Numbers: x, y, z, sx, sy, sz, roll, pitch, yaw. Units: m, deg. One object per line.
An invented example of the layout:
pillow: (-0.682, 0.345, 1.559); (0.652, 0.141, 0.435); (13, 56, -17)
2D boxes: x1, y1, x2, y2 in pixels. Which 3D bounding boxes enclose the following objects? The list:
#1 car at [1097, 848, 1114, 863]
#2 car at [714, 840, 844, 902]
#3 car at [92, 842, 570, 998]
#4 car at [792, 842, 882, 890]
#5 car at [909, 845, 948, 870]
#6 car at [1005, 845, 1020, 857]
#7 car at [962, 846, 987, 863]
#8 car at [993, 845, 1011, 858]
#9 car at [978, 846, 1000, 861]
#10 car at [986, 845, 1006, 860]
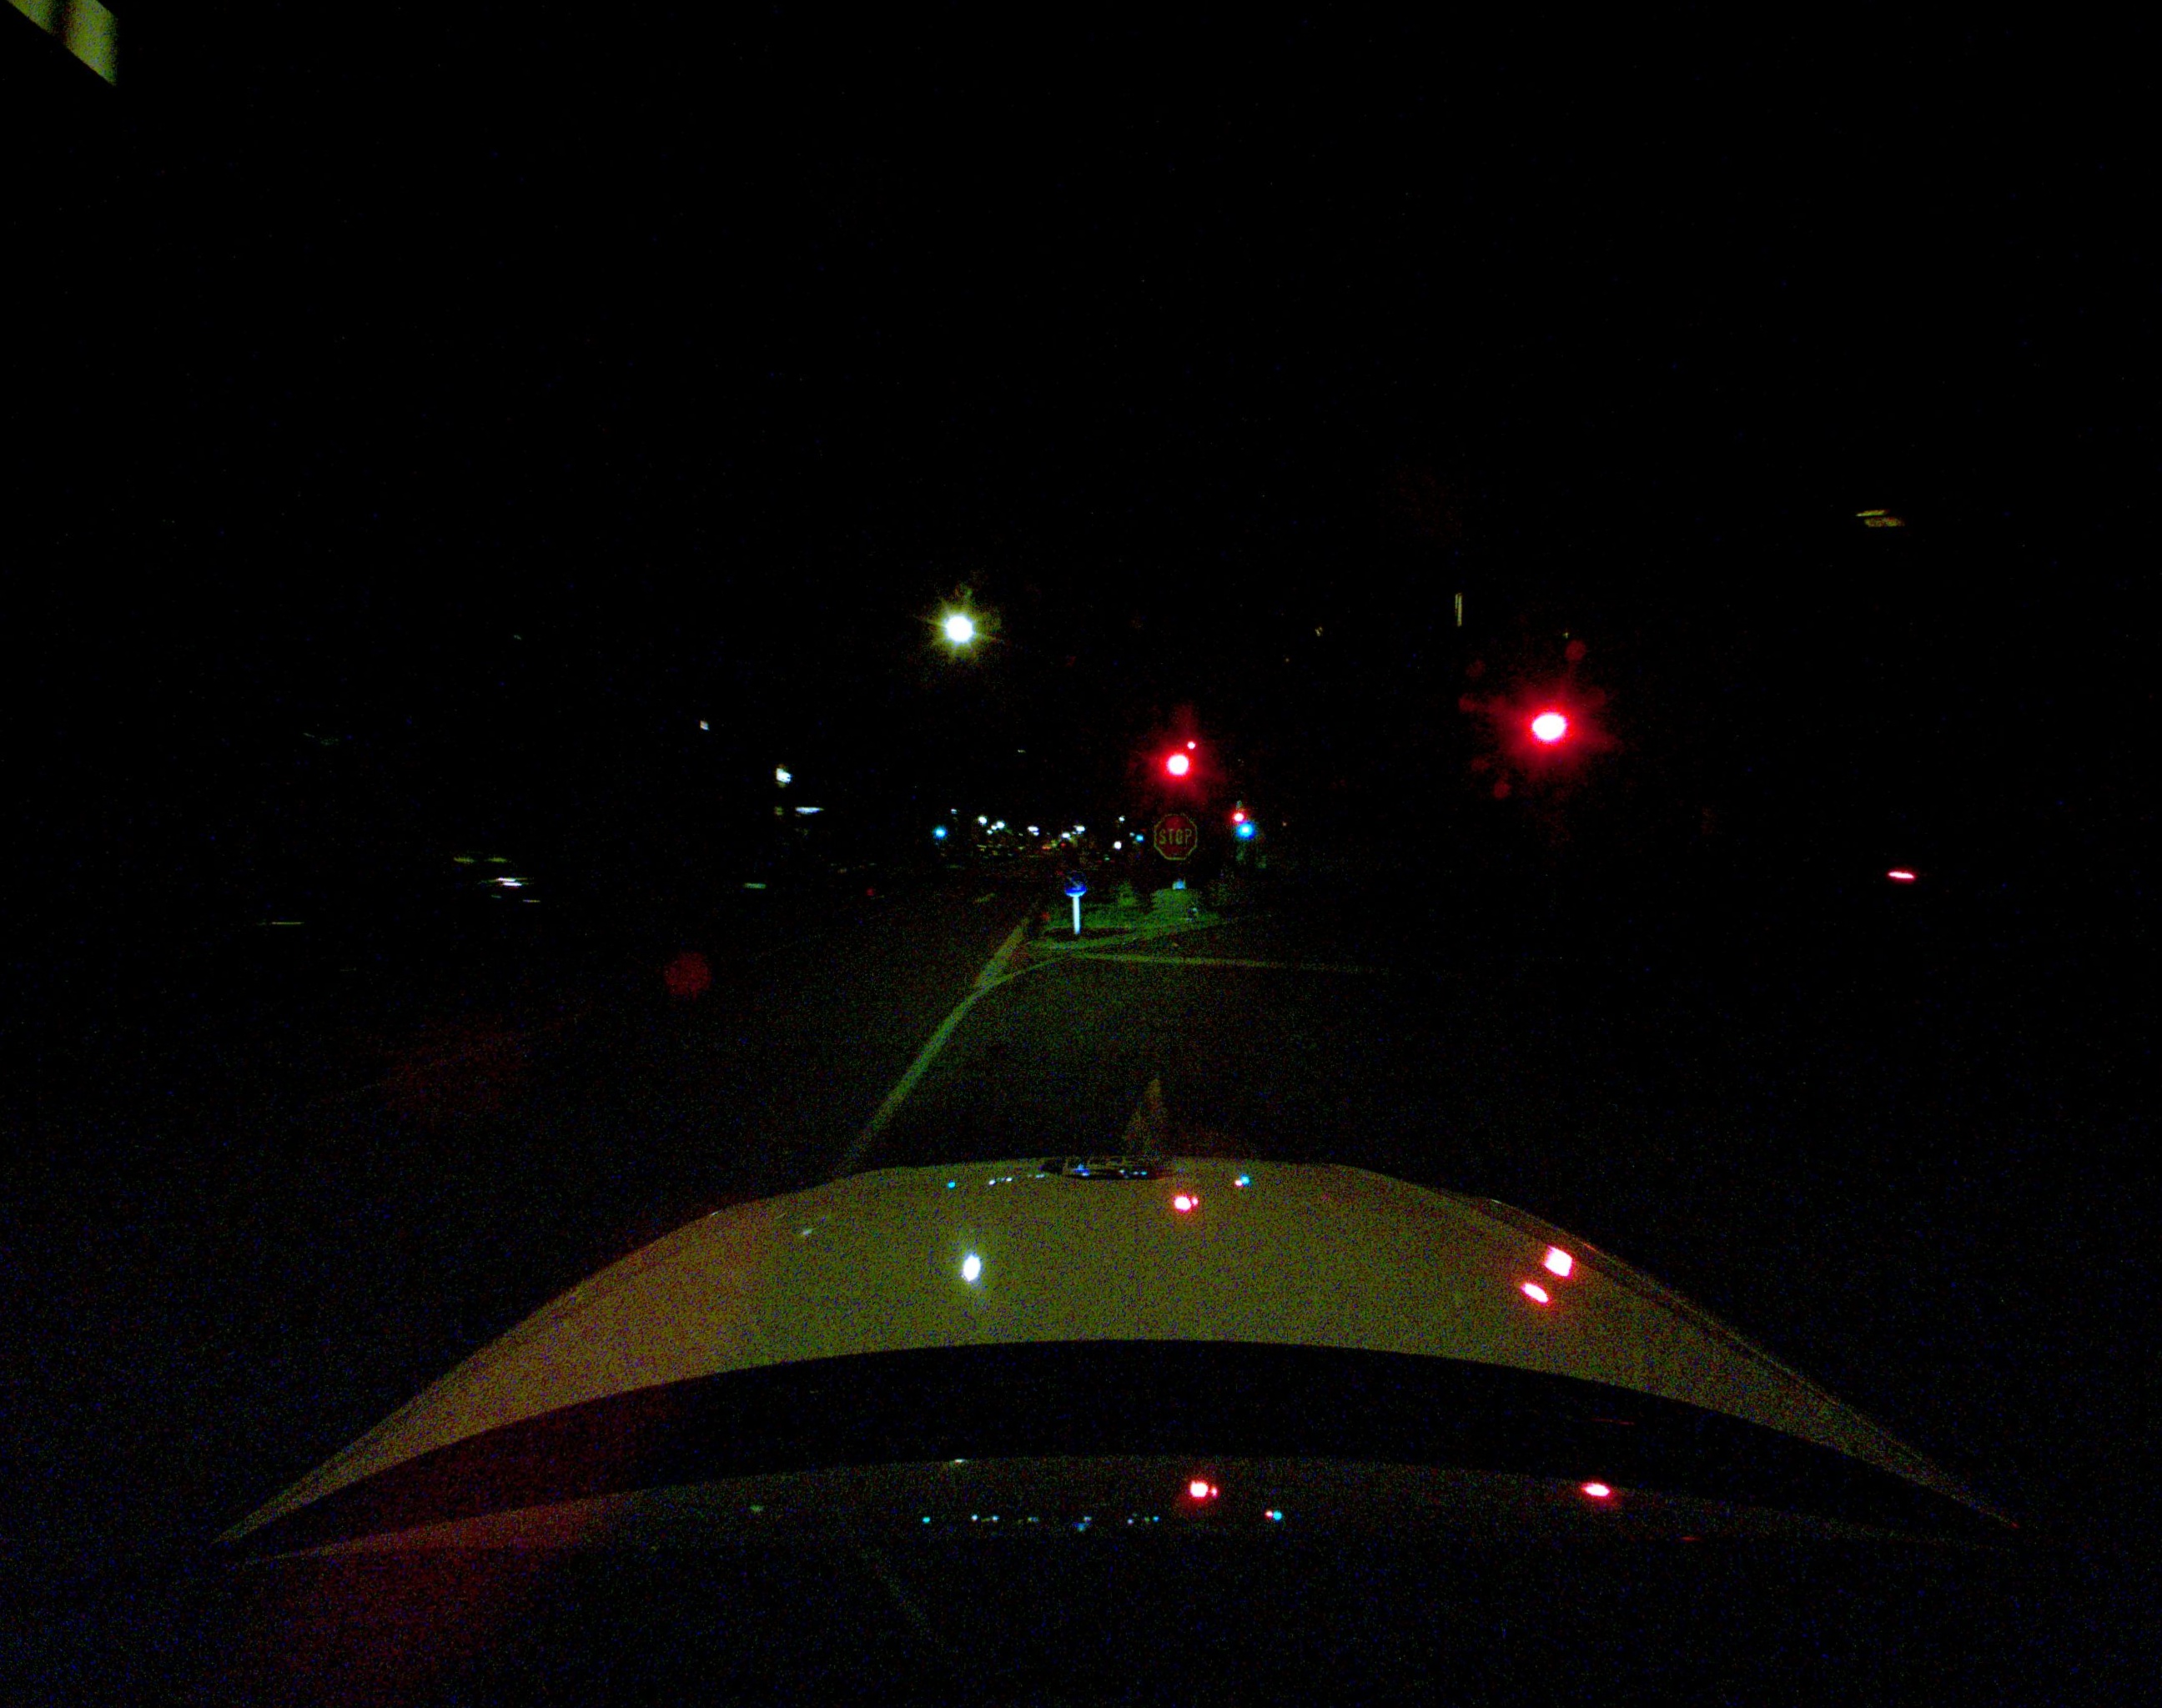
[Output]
car: (2.378, 0.132, 81.115); (1.645, 1.431, 4.001); (0, 0, 1)
car: (-8.212, 0.411, 22.608); (1.893, 1.471, 4.451); (2, 0, 0)
car: (-8.083, 0.577, 9.504); (1.619, 1.382, 4.446); (0, 0, -3)
car: (-8.174, 0.381, 27.655); (1.798, 1.481, 4.321); (1, 0, -1)
car: (-9.114, 0.176, 48.878); (1.646, 1.431, 3.999); (0, 0, -1)
car: (-8.800, -0.390, 104.956); (1.646, 1.431, 3.999); (0, 0, -1)
car: (-9.188, 0.026, 70.205); (1.646, 1.431, 3.999); (0, 0, -1)
car: (-8.785, -0.241, 91.222); (1.646, 1.431, 3.999); (0, 0, -1)
car: (-8.847, -0.082, 78.325); (1.646, 1.431, 3.999); (0, 0, -1)
car: (-8.812, -0.168, 84.336); (1.646, 1.431, 3.999); (0, 0, -1)
